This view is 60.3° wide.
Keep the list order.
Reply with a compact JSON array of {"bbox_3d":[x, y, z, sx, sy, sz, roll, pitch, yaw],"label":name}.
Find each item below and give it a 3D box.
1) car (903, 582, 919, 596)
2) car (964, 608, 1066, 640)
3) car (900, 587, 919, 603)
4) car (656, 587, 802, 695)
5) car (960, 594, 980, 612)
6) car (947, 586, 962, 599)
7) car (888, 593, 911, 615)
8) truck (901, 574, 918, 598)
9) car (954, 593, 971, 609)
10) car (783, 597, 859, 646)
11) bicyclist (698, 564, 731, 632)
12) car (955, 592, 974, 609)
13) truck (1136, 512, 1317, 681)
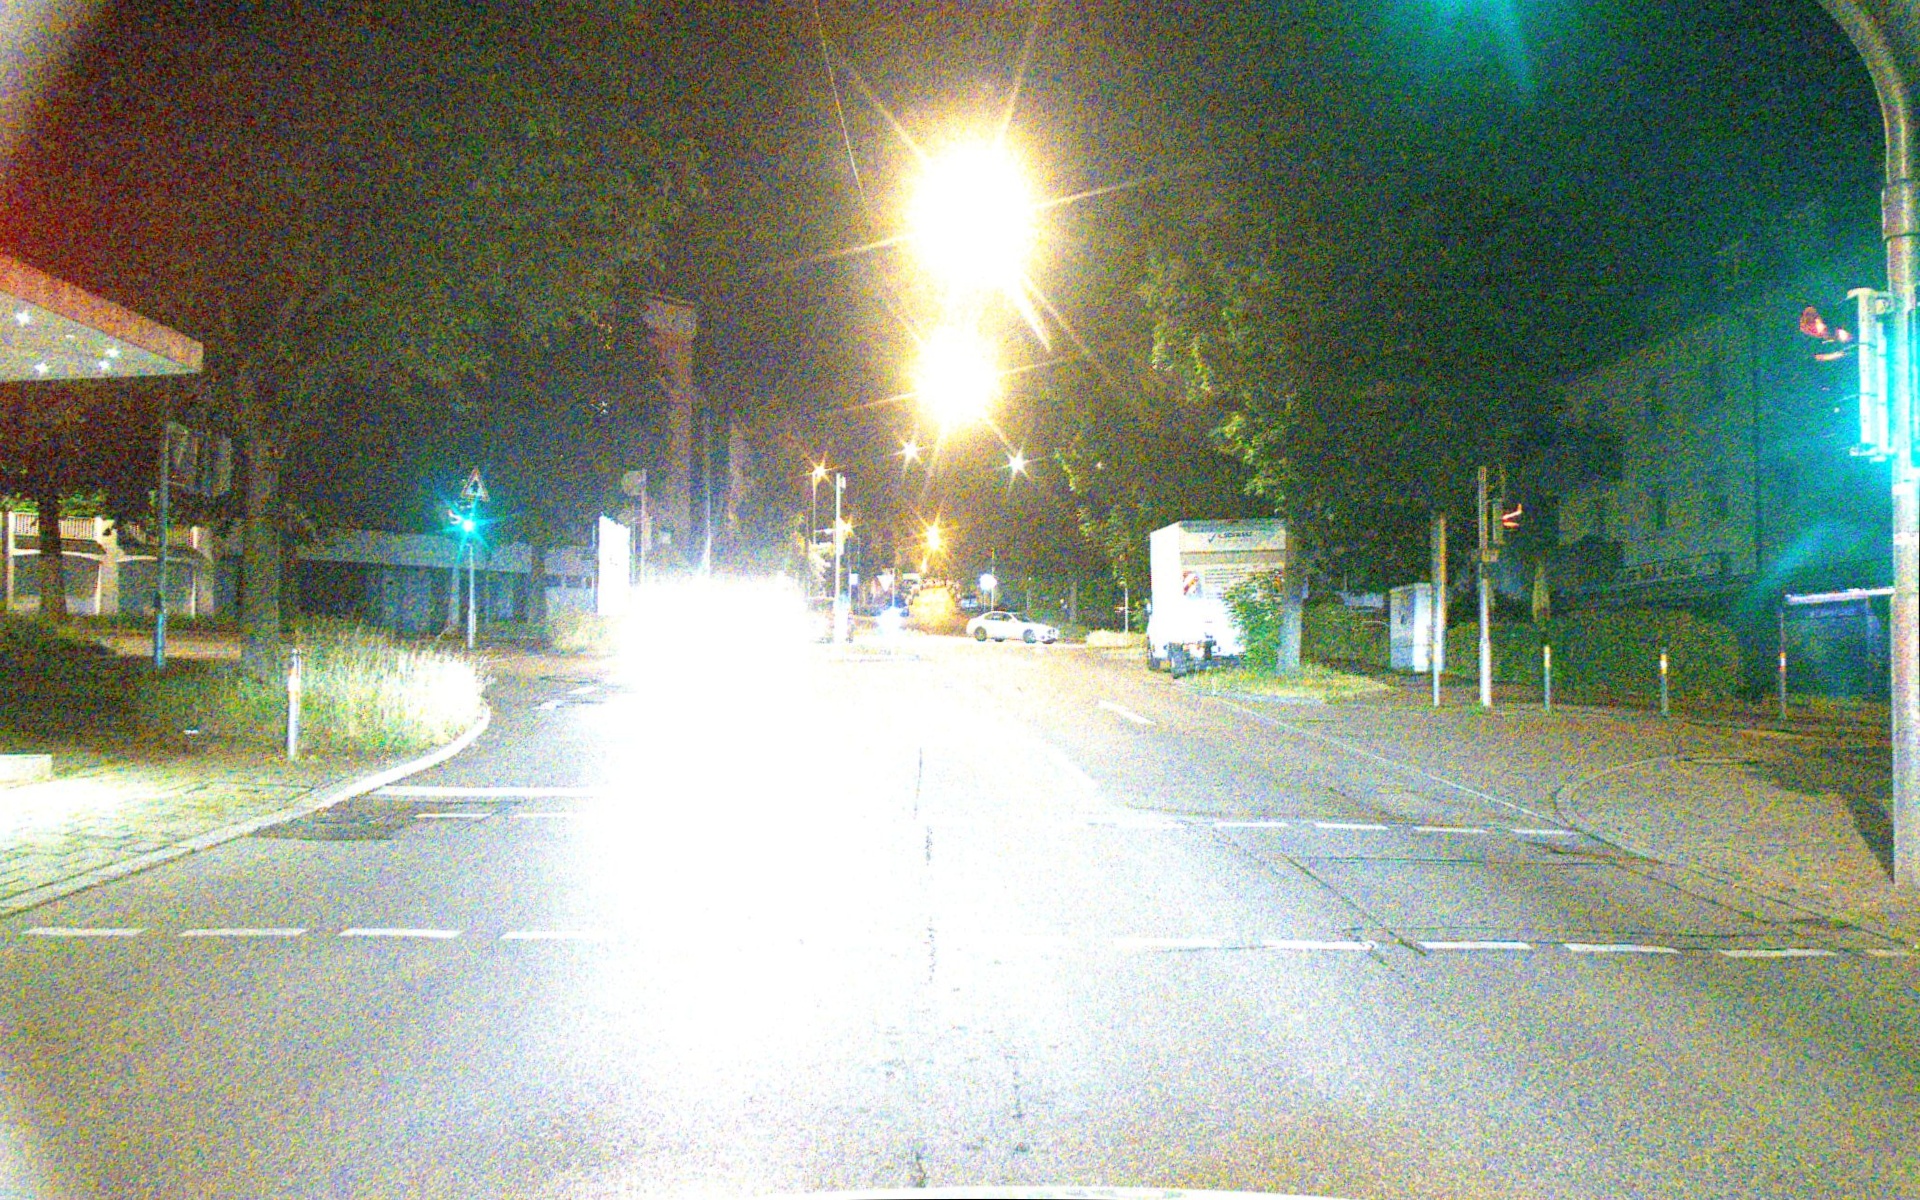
[{"bbox_3d":[-5.550,-1.233,186.886,1.779,1.517,3.998,1,0,-2],"label":"car"},{"bbox_3d":[2.582,1.111,78.163,4.489,1.413,1.916,1,0,35],"label":"car"},{"bbox_3d":[-4.892,-0.462,160.502,1.779,1.517,3.998,1,0,-2],"label":"car"},{"bbox_3d":[-3.605,0.599,26.468,1.819,1.561,4.027,1,0,-1],"label":"car"},{"bbox_3d":[0.865,0.269,143.372,1.601,1.477,3.484,1,0,-1],"label":"car"},{"bbox_3d":[-0.667,-0.893,191.485,1.601,1.477,3.484,1,0,-1],"label":"car"},{"bbox_3d":[-4.909,0.347,134.368,1.778,1.713,3.999,1,0,-1],"label":"car"},{"bbox_3d":[-6.455,-1.738,209.510,2.044,2.897,5.828,1,0,-2],"label":"truck"},{"bbox_3d":[0.246,0.076,159.283,1.601,1.477,3.484,1,0,-1],"label":"car"},{"bbox_3d":[-4.571,0.685,54.673,1.548,1.528,3.399,1,0,12],"label":"car"},{"bbox_3d":[-6.089,-0.050,41.031,0.676,1.666,0.896,1,-1,-1],"label":"bicyclist"},{"bbox_3d":[0.402,0.041,153.101,1.601,1.477,3.484,1,0,-1],"label":"car"},{"bbox_3d":[5.406,-0.072,34.612,2.693,3.165,6.257,1,0,0],"label":"truck"}]
